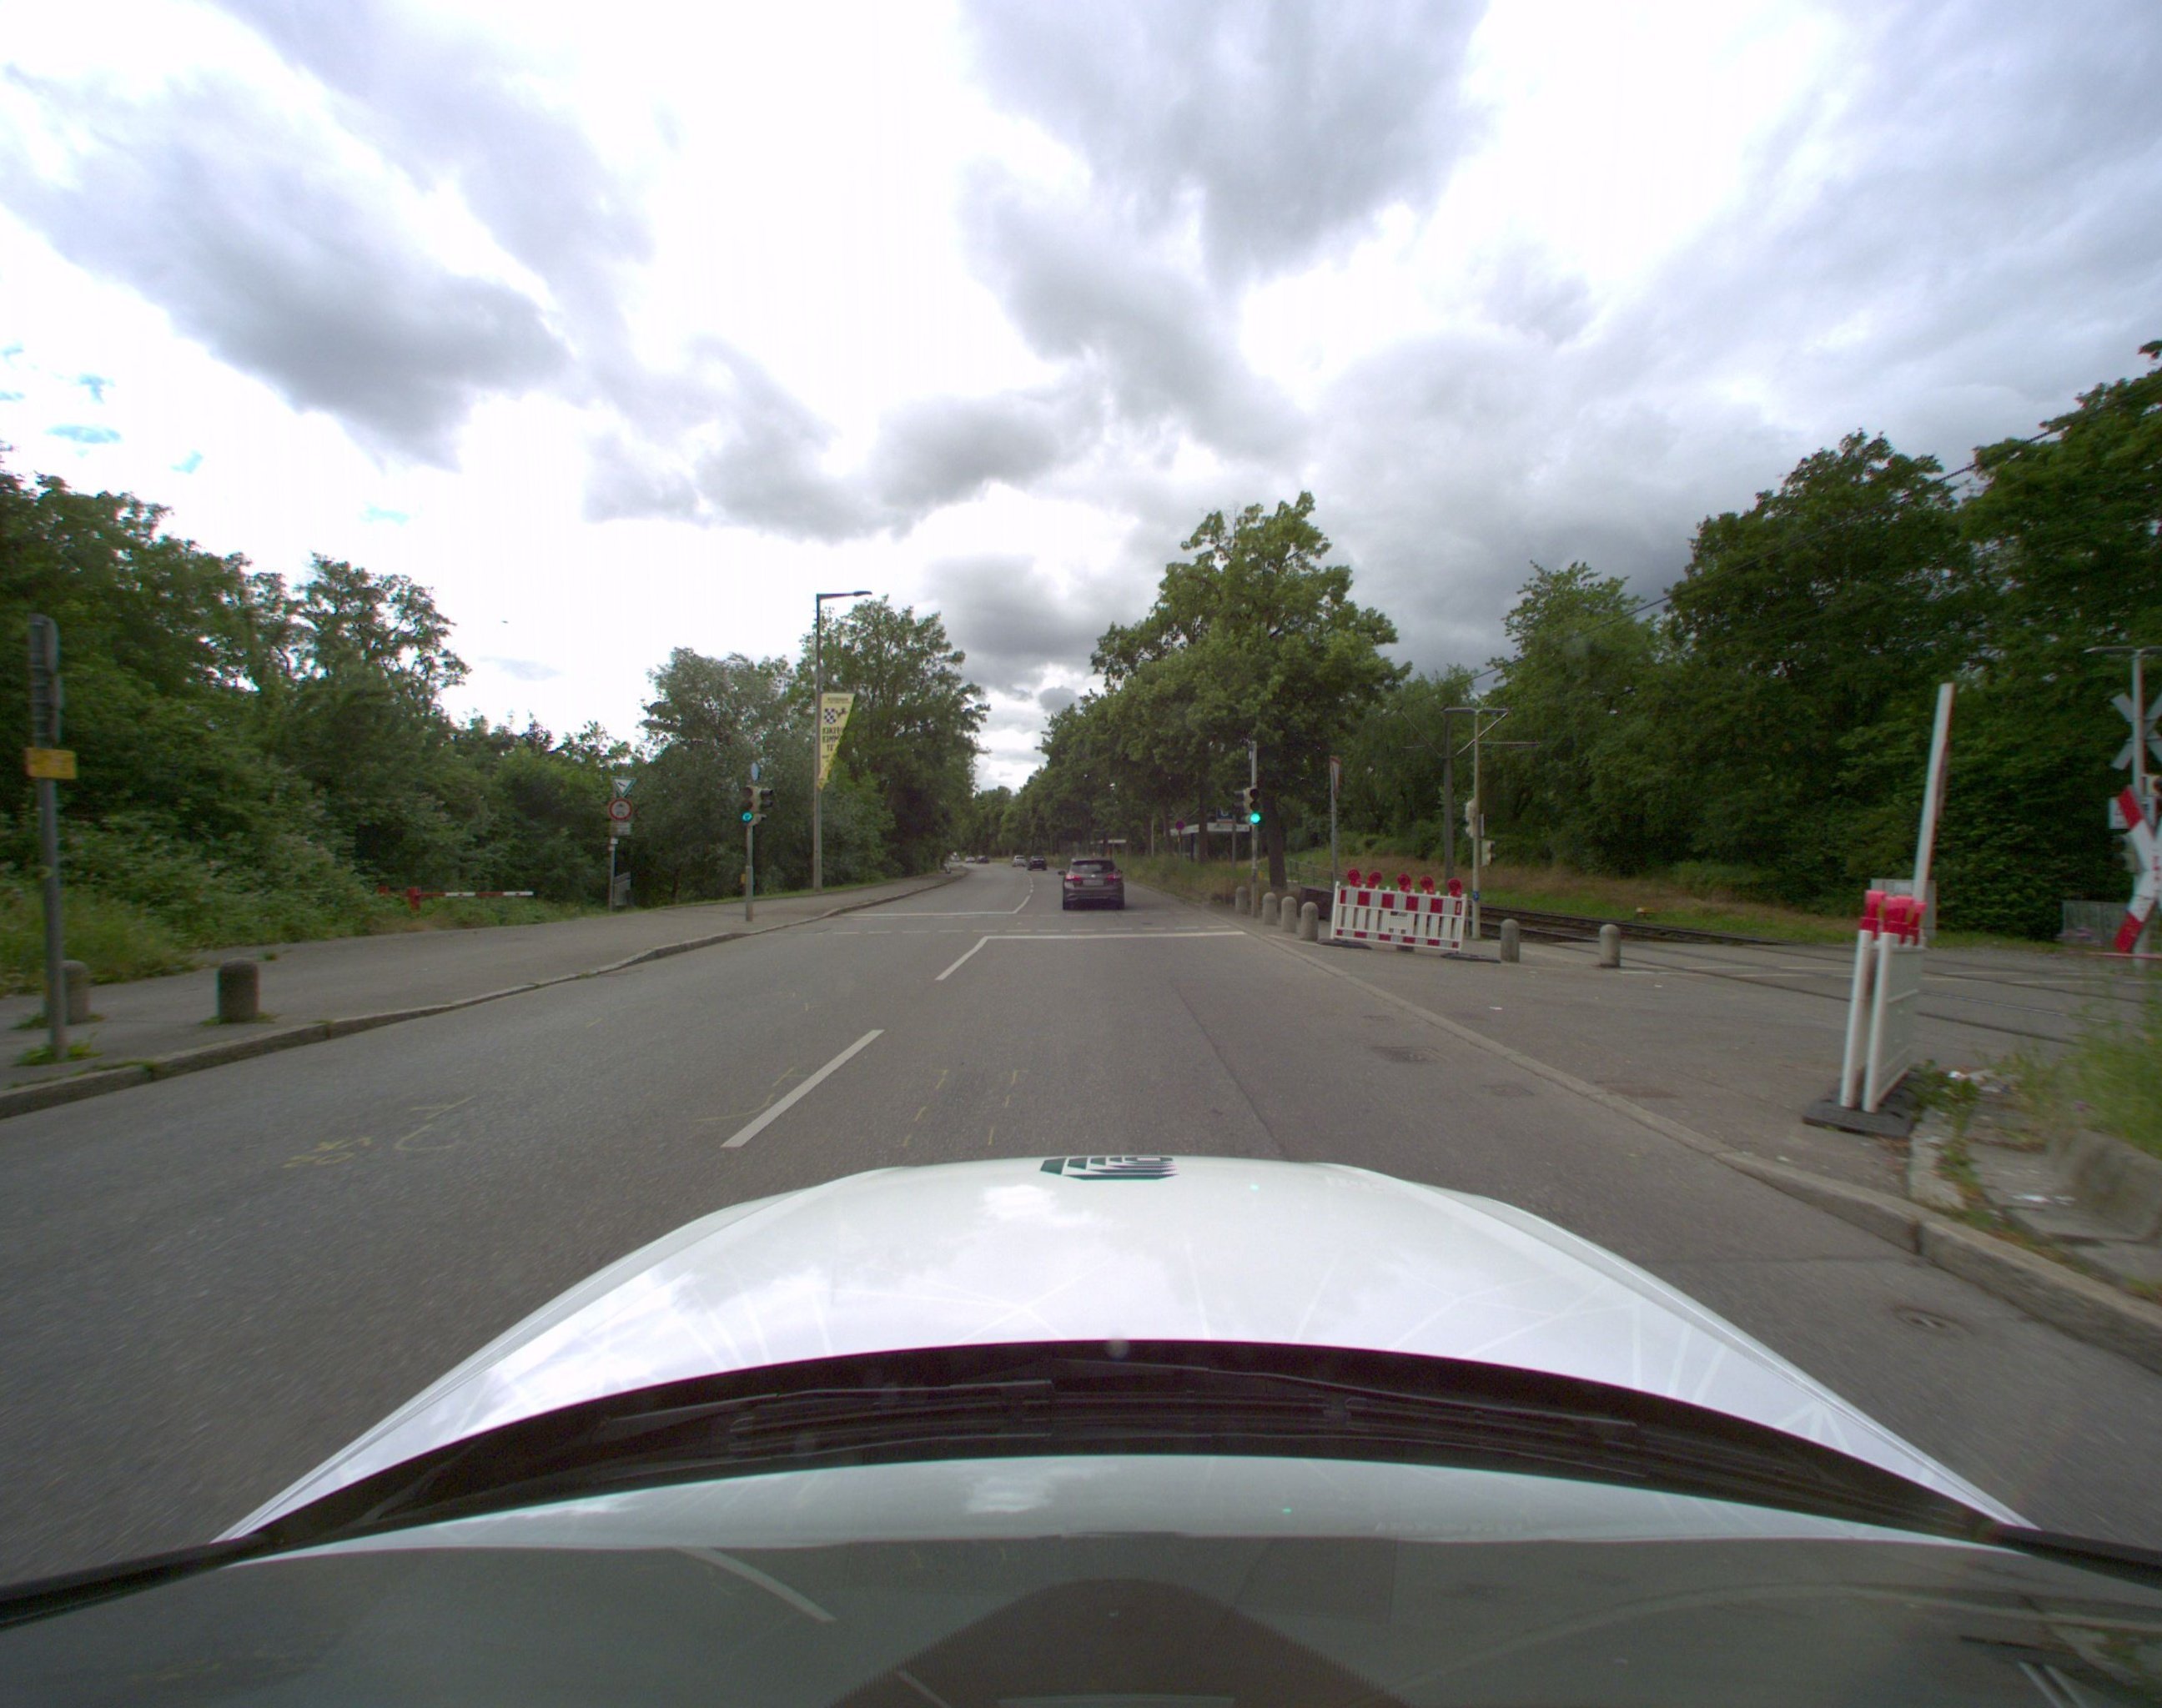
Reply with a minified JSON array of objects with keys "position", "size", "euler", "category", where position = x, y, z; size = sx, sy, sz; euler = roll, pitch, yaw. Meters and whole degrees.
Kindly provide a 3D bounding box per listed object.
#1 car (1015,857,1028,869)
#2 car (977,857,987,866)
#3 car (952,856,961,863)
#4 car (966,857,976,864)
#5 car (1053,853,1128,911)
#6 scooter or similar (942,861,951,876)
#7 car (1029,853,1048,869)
[{"position":[-7.917,1.163,108.488],"size":[1.772,1.472,3.994],"euler":[2,0,-4],"category":"car"},{"position":[-17.834,1.392,146.468],"size":[1.775,1.472,3.989],"euler":[3,-1,-8],"category":"car"},{"position":[-27.908,1.308,182.547],"size":[1.778,1.472,3.982],"euler":[2,0,-13],"category":"car"},{"position":[-21.922,1.296,162.375],"size":[1.774,1.472,3.991],"euler":[1,0,-7],"category":"car"},{"position":[0.208,0.776,24.519],"size":[1.813,1.508,3.993],"euler":[-1,1,-5],"category":"car"},{"position":[-11.188,1.185,67.520],"size":[0.366,1.184,1.286],"euler":[1,-1,-26],"category":"scooter or similar"},{"position":[-4.271,0.693,82.849],"size":[1.771,1.472,3.997],"euler":[2,0,-2],"category":"car"}]
